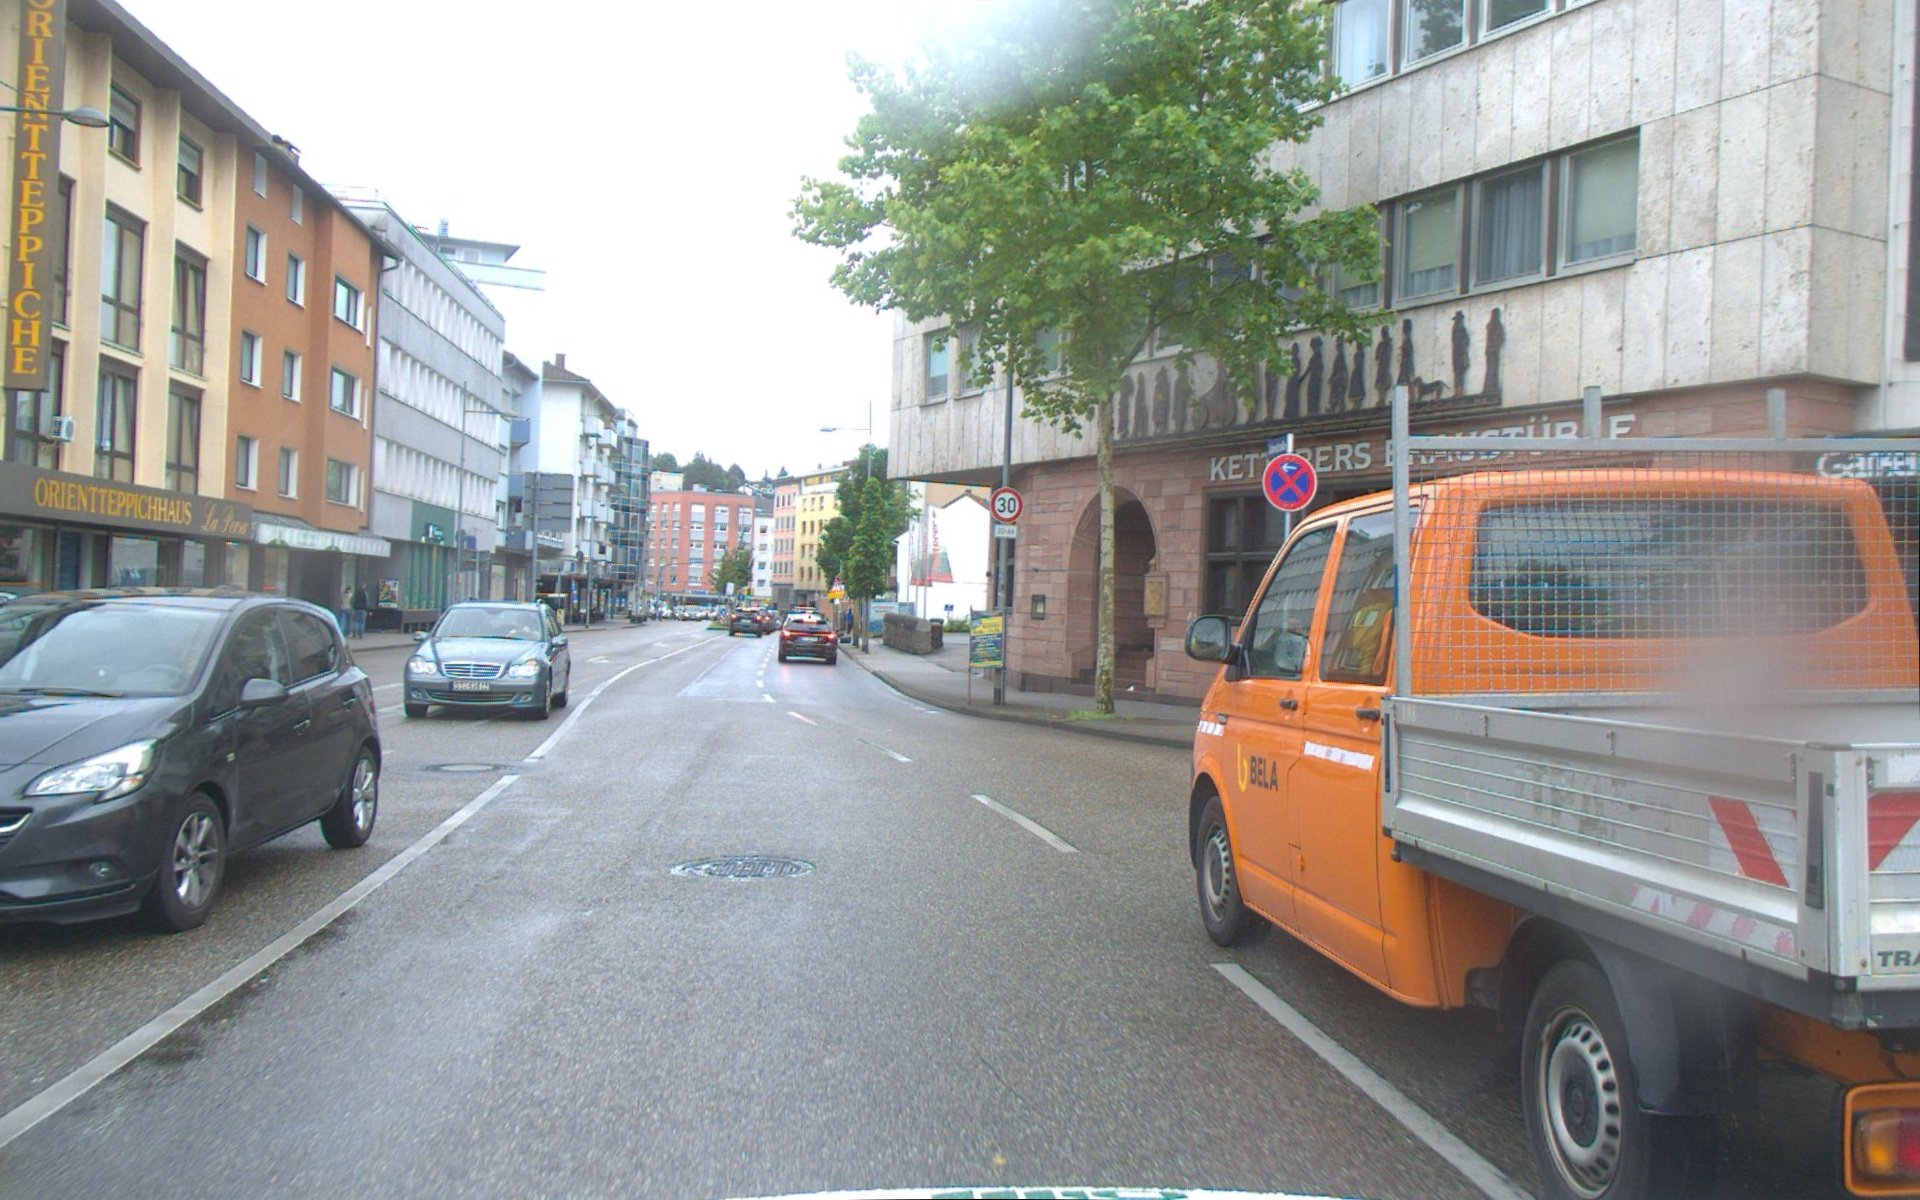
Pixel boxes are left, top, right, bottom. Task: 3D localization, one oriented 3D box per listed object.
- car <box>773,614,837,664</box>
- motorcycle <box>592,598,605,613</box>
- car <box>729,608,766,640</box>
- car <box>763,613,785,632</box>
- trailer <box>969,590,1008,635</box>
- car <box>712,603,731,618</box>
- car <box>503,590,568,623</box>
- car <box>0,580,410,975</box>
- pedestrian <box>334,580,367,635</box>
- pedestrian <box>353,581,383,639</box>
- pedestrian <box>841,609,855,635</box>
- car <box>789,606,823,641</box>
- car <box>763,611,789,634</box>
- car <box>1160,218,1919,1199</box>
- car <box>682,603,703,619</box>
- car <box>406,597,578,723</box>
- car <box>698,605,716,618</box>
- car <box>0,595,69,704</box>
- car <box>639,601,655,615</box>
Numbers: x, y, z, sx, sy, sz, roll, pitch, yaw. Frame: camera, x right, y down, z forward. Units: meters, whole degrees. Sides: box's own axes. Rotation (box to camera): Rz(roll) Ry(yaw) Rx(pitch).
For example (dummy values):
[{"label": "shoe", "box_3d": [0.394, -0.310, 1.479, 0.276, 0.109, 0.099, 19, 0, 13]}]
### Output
[{"label": "car", "box_3d": [-5.009, 1.220, 53.059, 1.756, 1.427, 4.625, 3, 0, -8]}, {"label": "motorcycle", "box_3d": [-26.265, 0.409, 120.180, 0.515, 1.012, 2.134, 4, -1, -4]}, {"label": "car", "box_3d": [-11.917, 1.328, 92.951, 1.788, 1.628, 3.714, 4, -1, -5]}, {"label": "car", "box_3d": [-14.389, 1.732, 127.929, 1.609, 1.405, 3.343, 1, -1, -7]}, {"label": "trailer", "box_3d": [1.786, 0.771, 104.715, 2.085, 2.764, 5.387, 0, 0, -3]}, {"label": "car", "box_3d": [-23.625, 1.043, 163.909, 1.687, 1.448, 4.160, 0, 0, -5]}, {"label": "car", "box_3d": [-28.136, 0.417, 109.692, 3.885, 2.070, 1.579, 2, -1, -5]}, {"label": "car", "box_3d": [-4.129, 0.664, 8.253, 1.611, 1.479, 3.987, 2, 0, -4]}, {"label": "pedestrian", "box_3d": [-19.656, 0.247, 53.343, 0.618, 1.704, 0.907, 6, -1, -6]}, {"label": "pedestrian", "box_3d": [-19.092, 0.326, 53.349, 0.564, 1.819, 0.826, 6, -1, -5]}, {"label": "pedestrian", "box_3d": [-7.703, 1.501, 114.139, 0.774, 1.786, 0.872, 0, -1, 7]}, {"label": "car", "box_3d": [-9.126, 1.375, 98.203, 1.794, 1.836, 3.716, 4, 0, -4]}, {"label": "car", "box_3d": [-11.778, 1.443, 105.779, 1.609, 1.405, 3.343, 1, -1, -7]}, {"label": "car", "box_3d": [2.263, 0.441, 5.525, 2.061, 2.126, 5.535, 0, 0, -5]}, {"label": "car", "box_3d": [-26.404, 1.079, 163.387, 1.674, 1.493, 4.824, -1, 0, -5]}, {"label": "car", "box_3d": [-6.032, 0.724, 21.744, 1.701, 1.465, 4.402, 1, 0, -10]}, {"label": "car", "box_3d": [-28.253, 1.266, 184.883, 1.691, 1.448, 4.151, 0, 0, -13]}, {"label": "car", "box_3d": [-13.123, 0.605, 20.900, 1.694, 1.390, 4.106, 1, -2, -4]}, {"label": "car", "box_3d": [-35.403, 0.873, 187.027, 1.432, 1.455, 3.355, 4, 0, -16]}]
